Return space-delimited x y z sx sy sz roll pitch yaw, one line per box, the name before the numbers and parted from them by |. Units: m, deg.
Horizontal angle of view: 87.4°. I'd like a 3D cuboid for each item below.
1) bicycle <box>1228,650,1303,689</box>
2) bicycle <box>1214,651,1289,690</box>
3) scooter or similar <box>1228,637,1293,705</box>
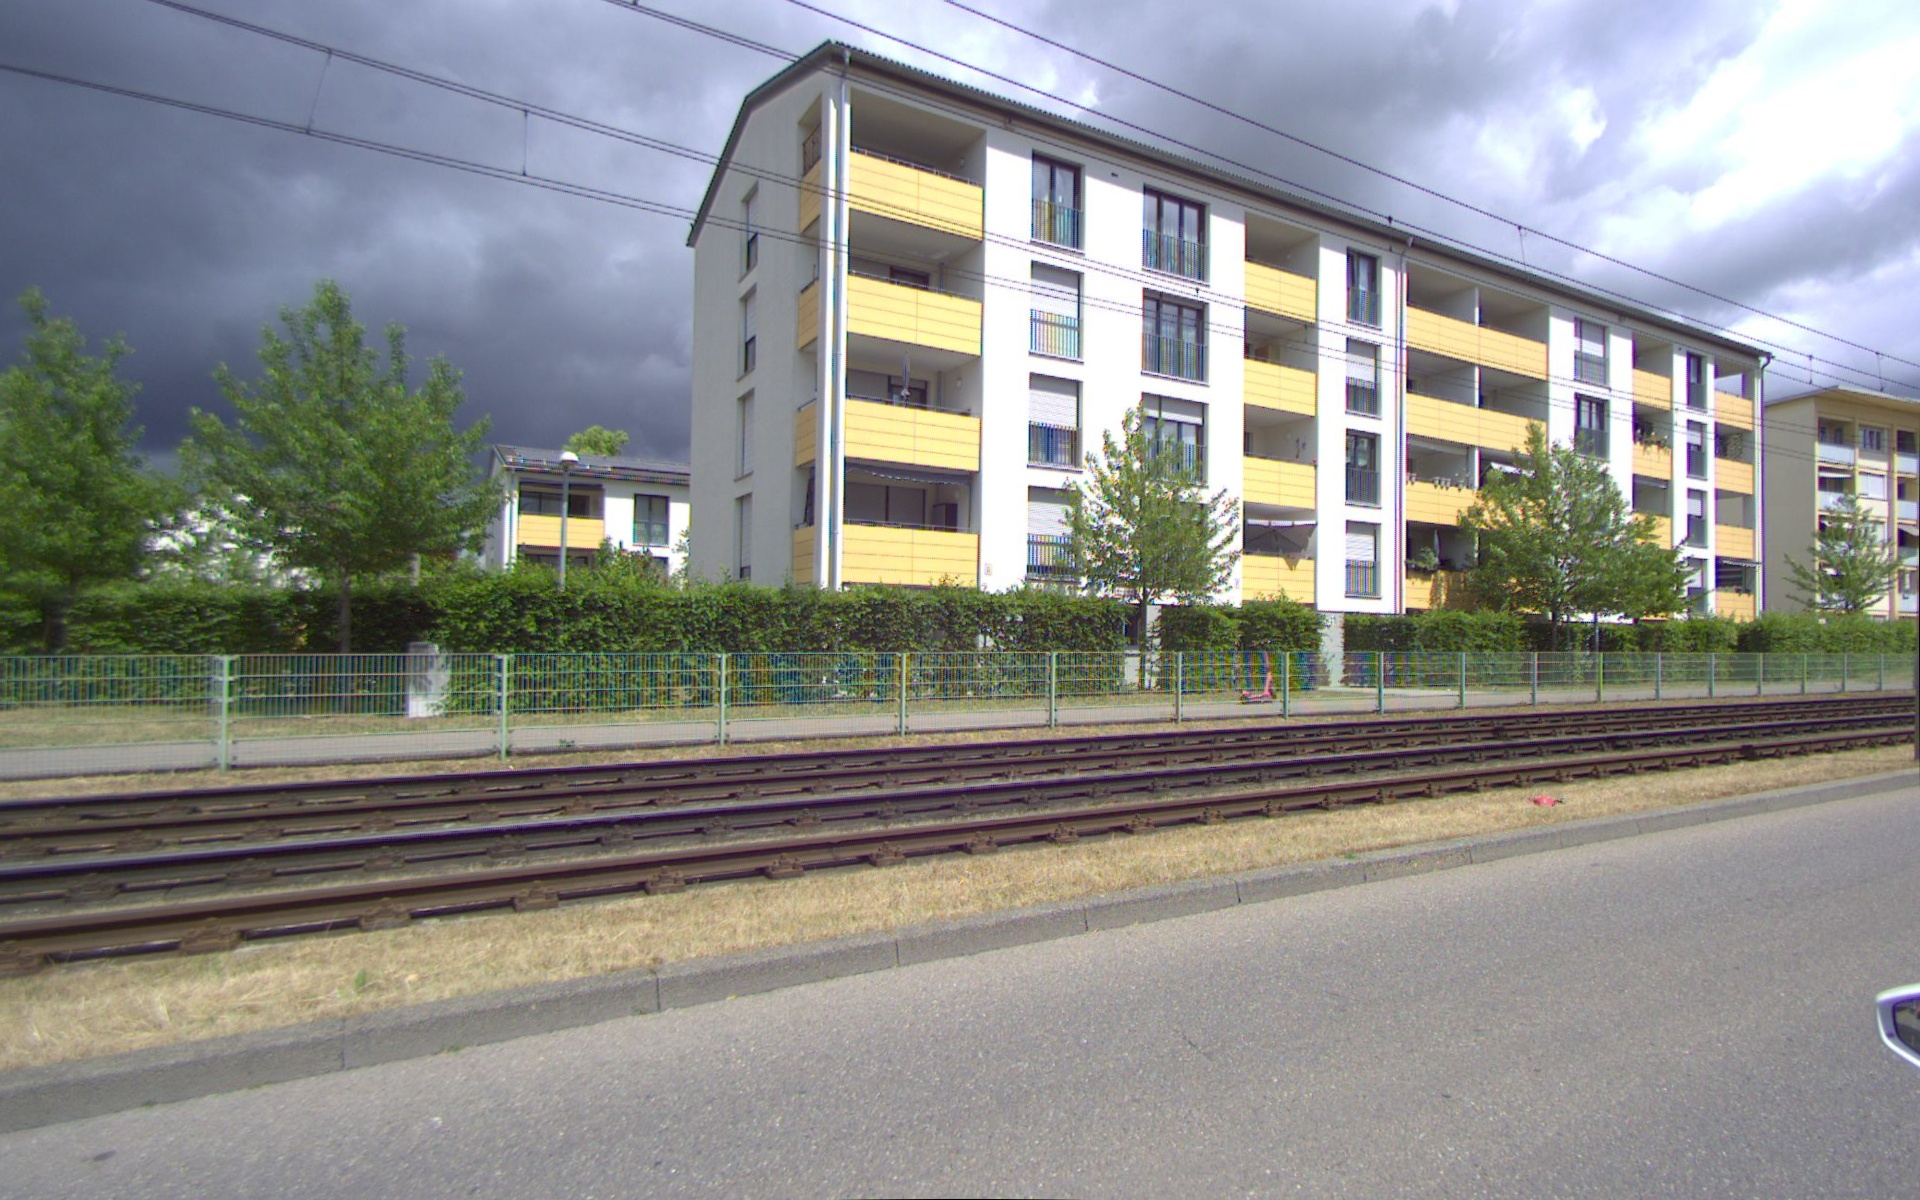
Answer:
bicycle | 8.123 1.834 26.668 2.185 0.992 0.552 1 -1 -28
bicycle | 7.891 1.894 27.133 2.185 0.992 0.552 1 -1 -28
scooter or similar | 6.044 1.408 20.185 1.286 1.310 0.488 1 -1 -30
